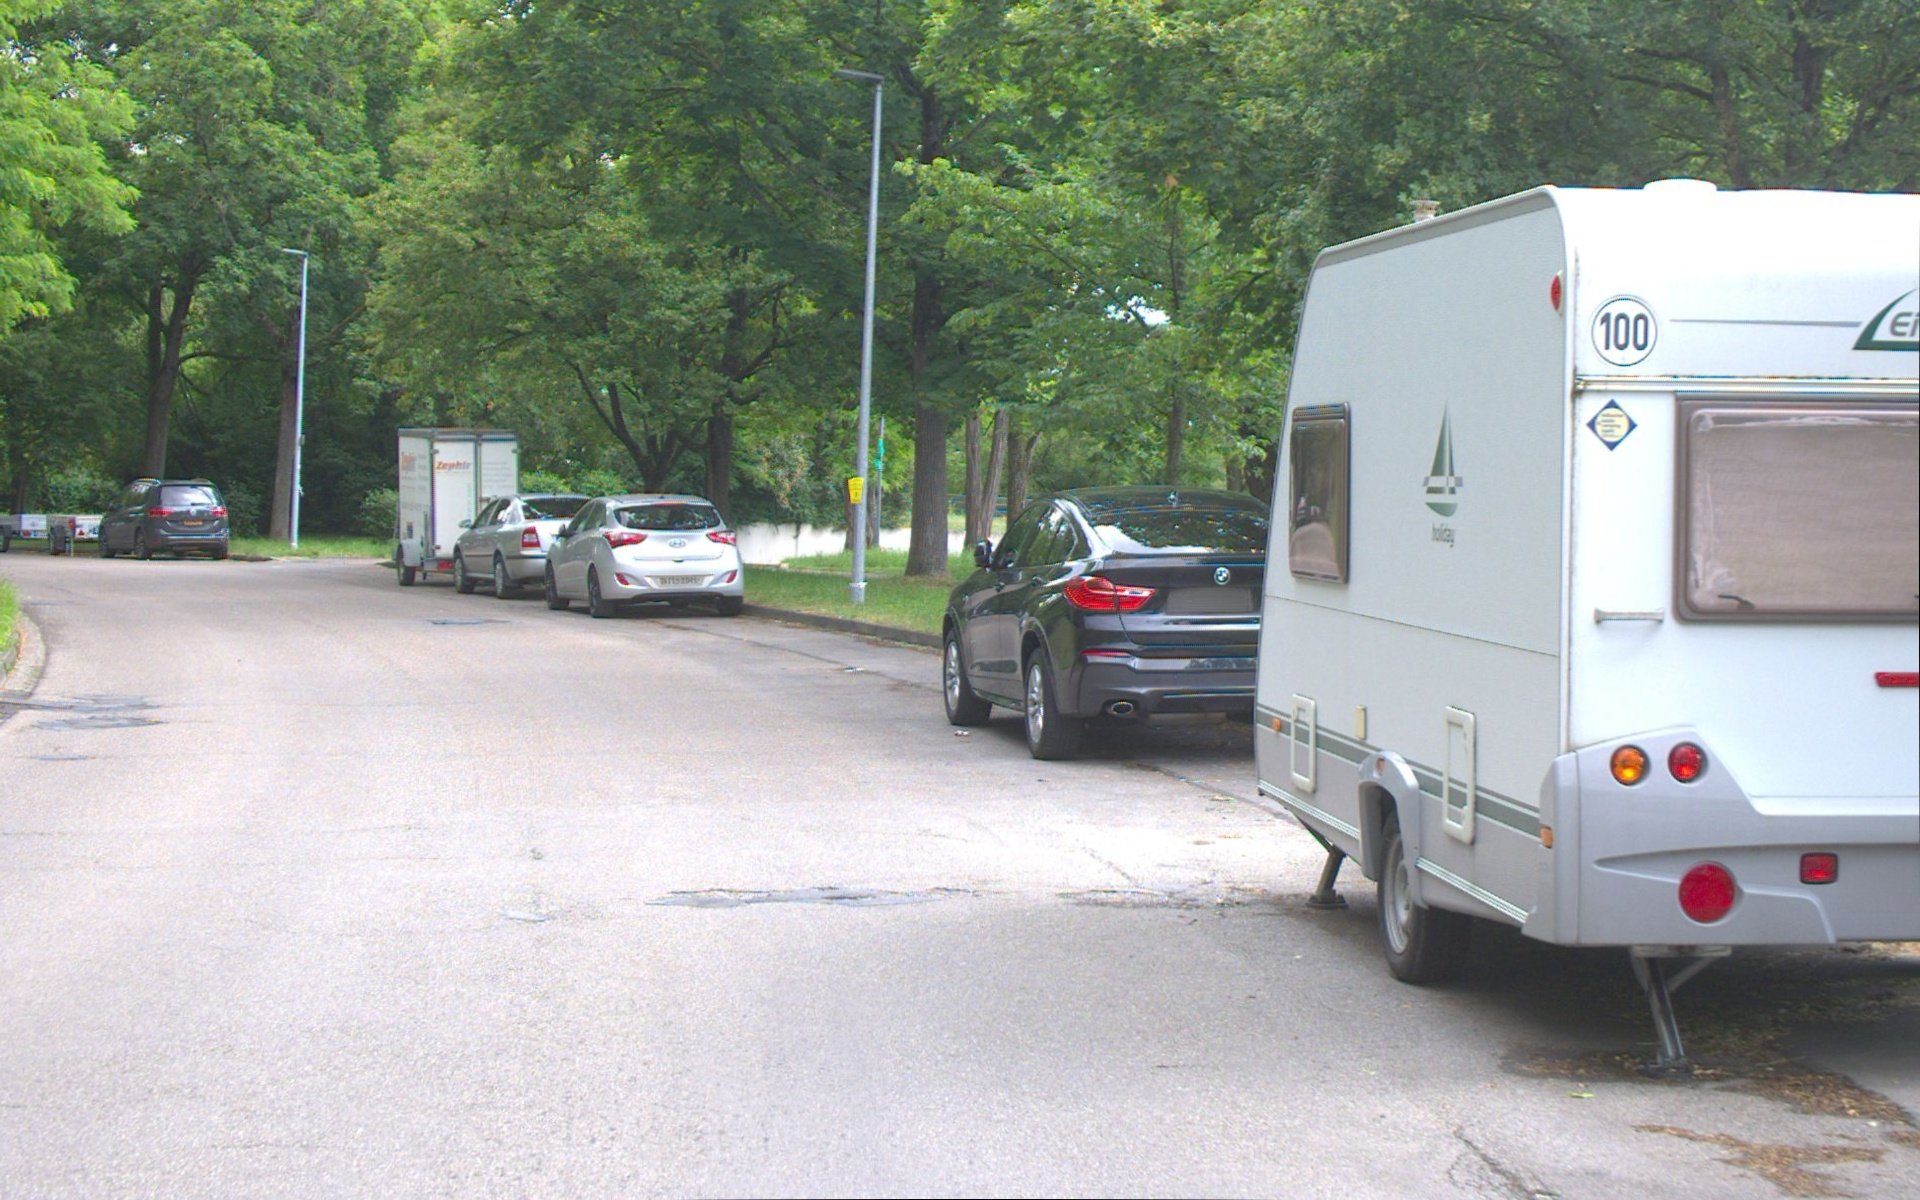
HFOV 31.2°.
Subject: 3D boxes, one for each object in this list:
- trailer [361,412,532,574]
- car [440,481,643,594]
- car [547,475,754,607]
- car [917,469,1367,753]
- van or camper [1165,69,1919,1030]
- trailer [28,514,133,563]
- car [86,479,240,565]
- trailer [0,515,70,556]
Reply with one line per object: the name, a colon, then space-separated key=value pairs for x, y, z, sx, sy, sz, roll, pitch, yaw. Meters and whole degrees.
trailer: x=-8.036 y=-1.662 z=53.557 sx=1.760 sy=2.418 sz=3.888 roll=-1 pitch=2 yaw=-22
car: x=-5.967 y=-0.897 z=48.564 sx=1.741 sy=1.520 sz=4.637 roll=-1 pitch=2 yaw=-21
car: x=-3.847 y=-0.686 z=42.206 sx=1.901 sy=1.471 sz=4.060 roll=2 pitch=-1 yaw=-14
car: x=1.041 y=0.000 z=22.223 sx=1.848 sy=1.637 sz=4.532 roll=0 pitch=2 yaw=-11
van or camper: x=2.324 y=-0.171 z=12.182 sx=2.161 sy=2.527 sz=6.033 roll=1 pitch=1 yaw=-6
trailer: x=-19.509 y=-1.373 z=76.178 sx=1.357 sy=0.965 sz=3.893 roll=2 pitch=1 yaw=-28
car: x=-16.471 y=-1.599 z=70.875 sx=1.775 sy=1.657 sz=4.841 roll=2 pitch=0 yaw=-29
trailer: x=-22.003 y=-1.495 z=80.278 sx=1.363 sy=0.845 sz=3.278 roll=2 pitch=-1 yaw=-33
